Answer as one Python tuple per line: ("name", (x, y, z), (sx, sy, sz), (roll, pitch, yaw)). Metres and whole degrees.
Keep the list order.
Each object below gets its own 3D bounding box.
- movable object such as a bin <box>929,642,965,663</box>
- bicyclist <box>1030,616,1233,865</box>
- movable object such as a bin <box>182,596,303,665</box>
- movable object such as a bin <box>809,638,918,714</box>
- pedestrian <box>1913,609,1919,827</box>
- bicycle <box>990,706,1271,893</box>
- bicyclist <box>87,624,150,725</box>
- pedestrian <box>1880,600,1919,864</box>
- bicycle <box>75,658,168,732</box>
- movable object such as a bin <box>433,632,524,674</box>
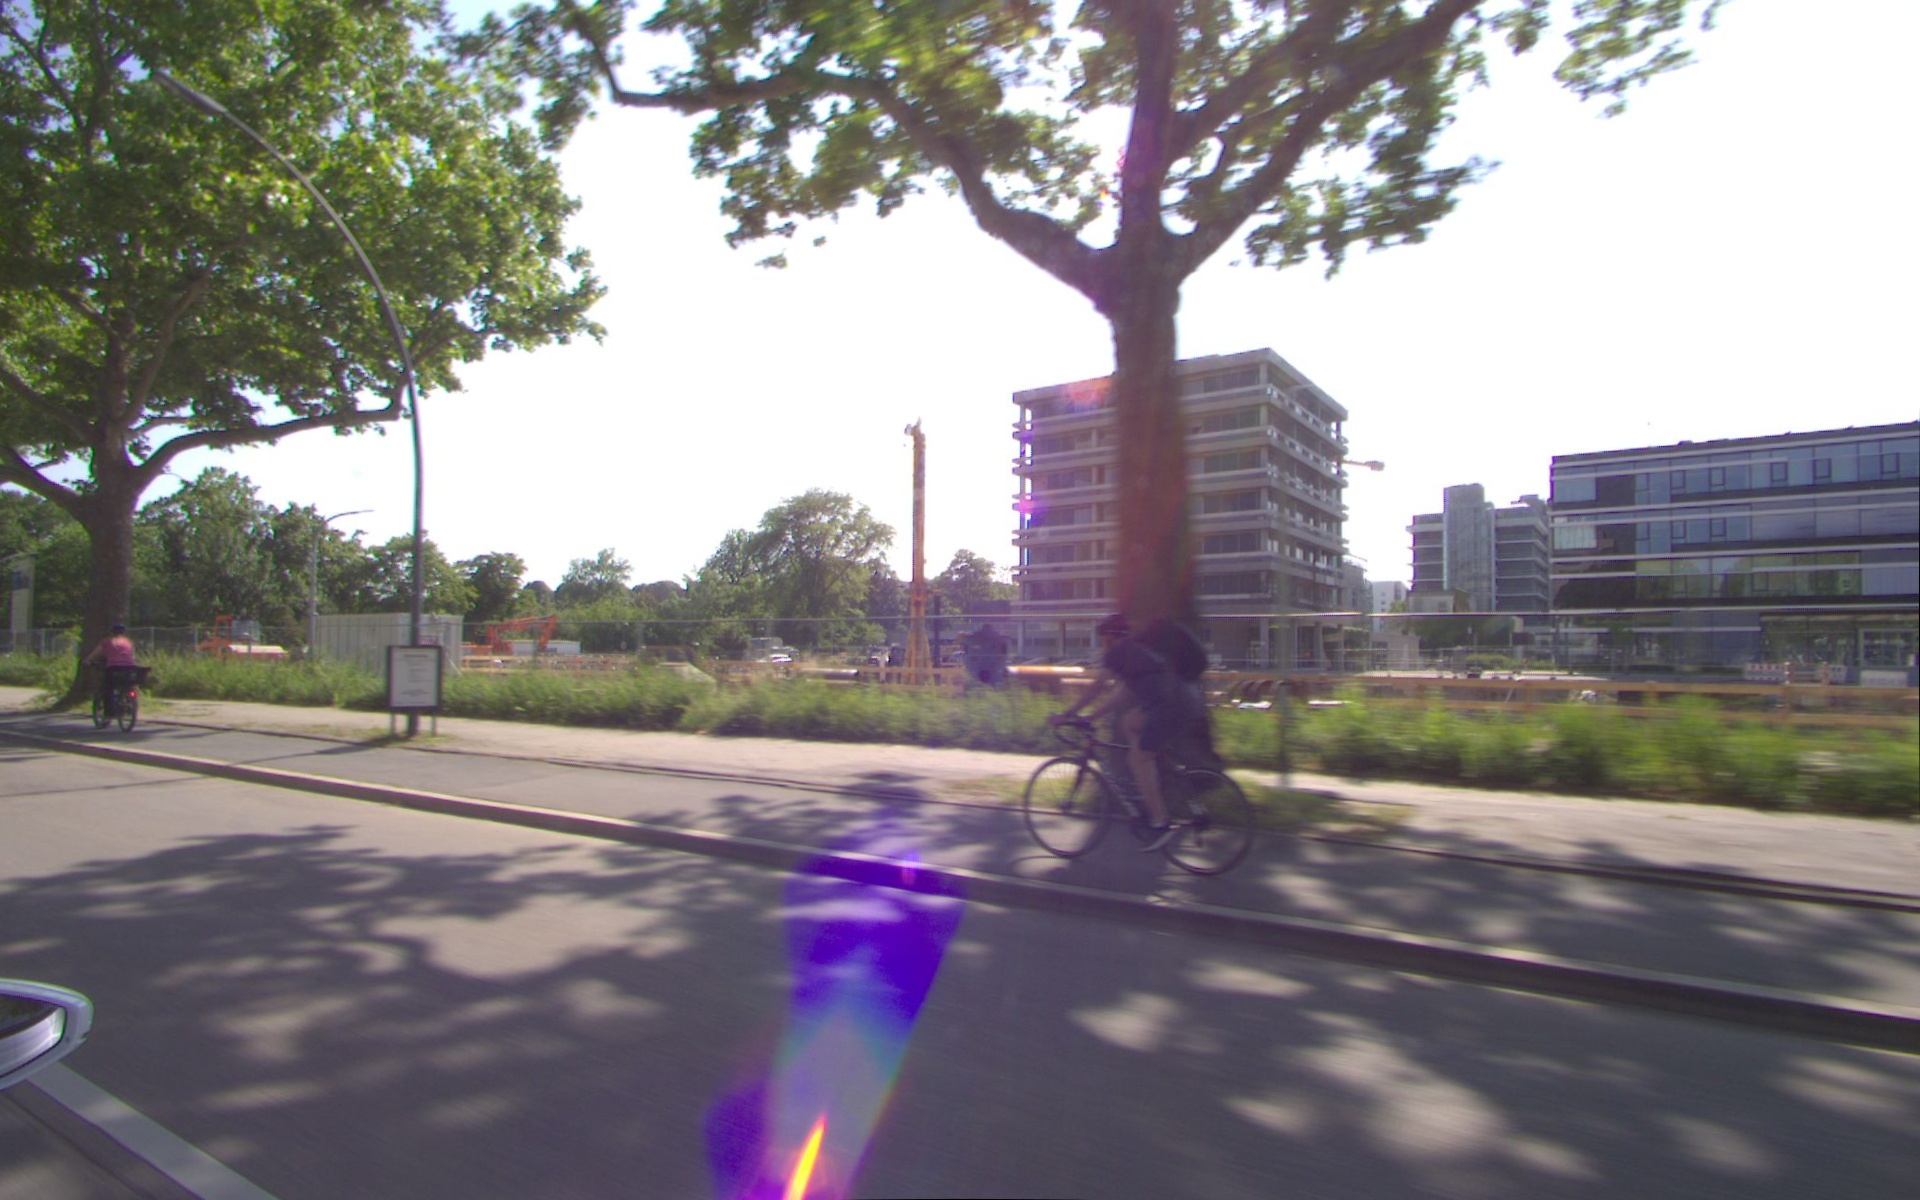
("movable object such as a bin", (-1.328, 5.345, 102.174), (2.630, 2.039, 2.747), (-1, -3, 32))
("bicyclist", (1.137, 0.870, 6.671), (1.197, 1.509, 0.597), (-1, 0, 32))
("movable object such as a bin", (-33.946, 1.462, 47.334), (5.897, 3.109, 2.368), (-1, -3, 31))
("movable object such as a bin", (-7.645, 5.737, 76.594), (6.635, 5.239, 11.770), (2, -3, -14))
("pedestrian", (7.839, 0.910, 7.445), (0.945, 1.704, 0.695), (0, -3, 32))
("bicycle", (1.109, 1.265, 6.692), (1.756, 0.993, 0.596), (-1, 0, 32))
("bicyclist", (-13.982, 1.214, 16.640), (0.722, 1.621, 0.618), (0, -1, 32))
("pedestrian", (6.965, 0.888, 6.702), (1.051, 1.746, 0.709), (0, -3, 32))
("bicycle", (-13.956, 1.549, 16.650), (1.918, 1.144, 0.650), (-1, -2, 33))
("movable object such as a bin", (-35.924, 3.964, 74.834), (3.249, 3.012, 5.168), (-1, -4, 34))
